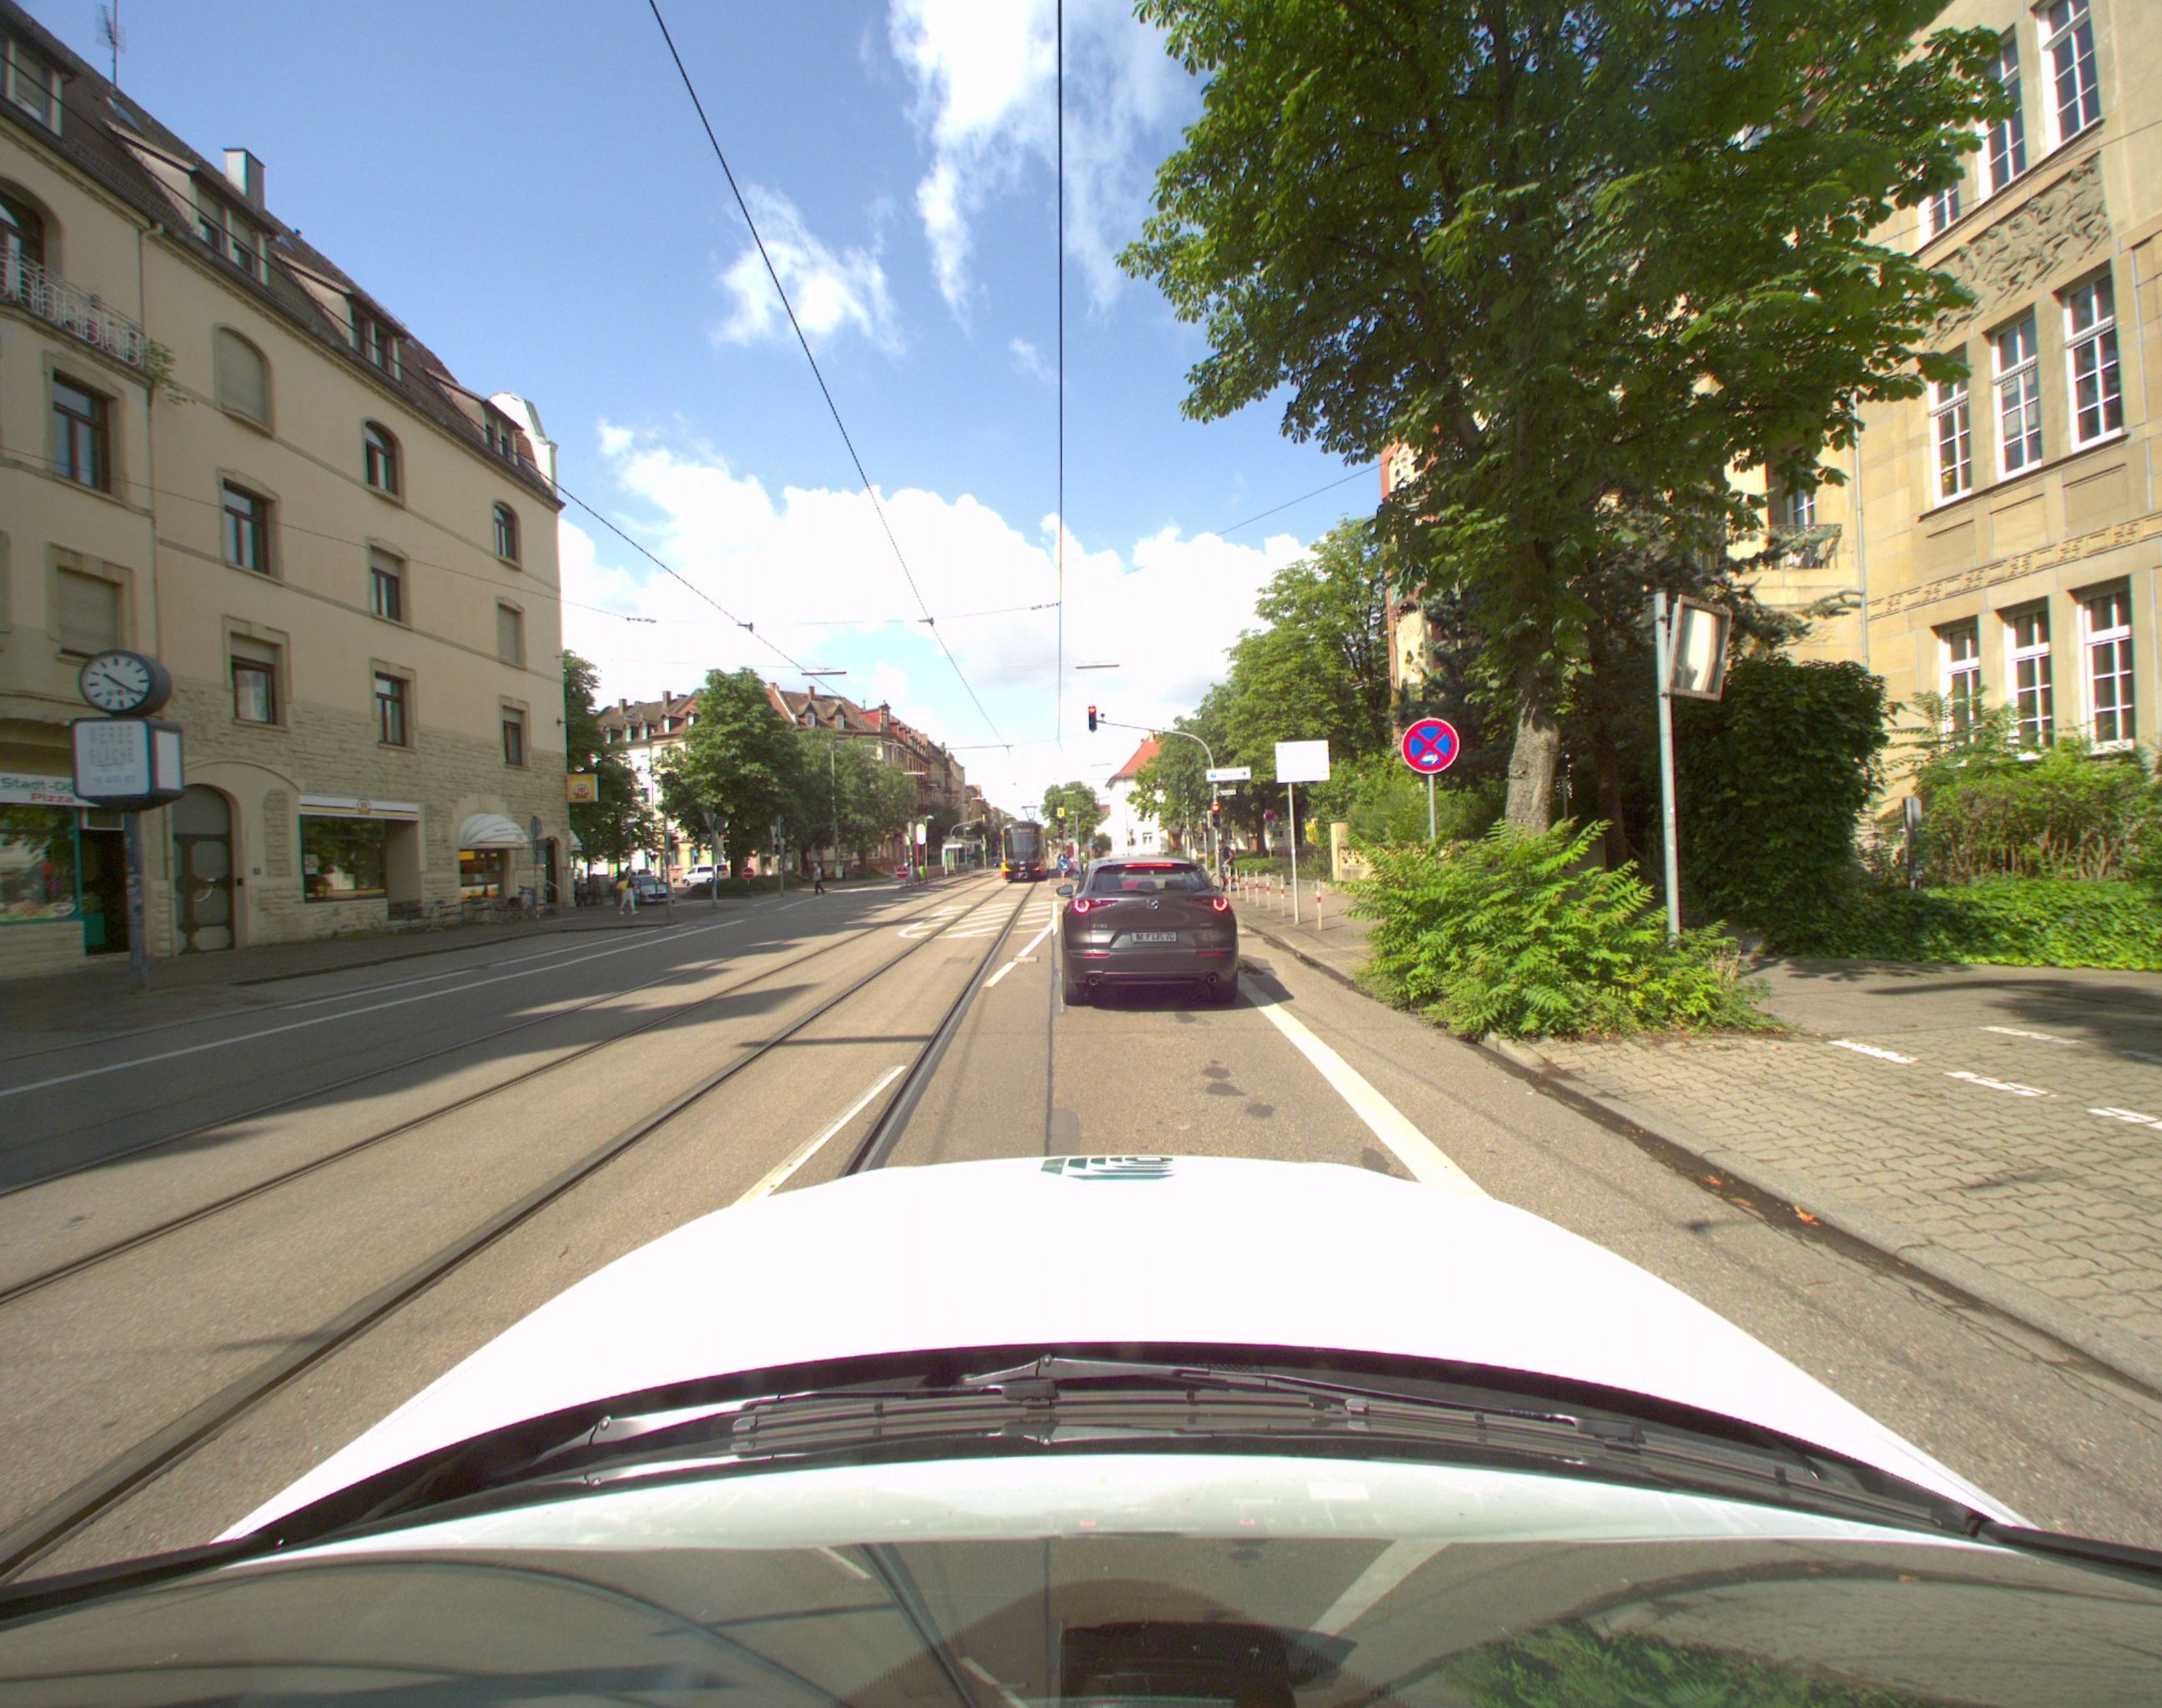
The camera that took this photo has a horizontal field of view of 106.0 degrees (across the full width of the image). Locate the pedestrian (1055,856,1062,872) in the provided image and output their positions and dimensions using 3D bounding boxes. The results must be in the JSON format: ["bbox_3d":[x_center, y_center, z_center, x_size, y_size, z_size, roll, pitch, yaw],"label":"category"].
[{"bbox_3d":[-1.535,0.666,55.371,0.379,1.071,0.474,-2,0,-3],"label":"pedestrian"}]

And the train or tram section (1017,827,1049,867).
[{"bbox_3d":[-4.583,-0.781,80.408,2.746,3.490,14.396,-3,1,-2],"label":"train or tram section"}]

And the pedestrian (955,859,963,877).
[{"bbox_3d":[-9.748,1.115,64.872,0.424,1.399,0.401,-3,0,32],"label":"pedestrian"}]

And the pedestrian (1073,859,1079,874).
[{"bbox_3d":[-0.338,0.829,55.684,0.379,0.984,0.474,-2,0,-3],"label":"pedestrian"}]

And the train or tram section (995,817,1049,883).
[{"bbox_3d":[-3.495,-0.330,51.633,2.746,3.490,14.396,-3,1,-2],"label":"train or tram section"}]

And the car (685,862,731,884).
[{"bbox_3d":[-36.768,1.860,80.228,3.950,1.903,2.012,-2,0,26],"label":"car"}]

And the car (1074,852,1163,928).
[{"bbox_3d":[0.806,0.712,18.302,1.772,1.499,4.001,0,0,1],"label":"car"}]

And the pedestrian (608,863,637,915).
[{"bbox_3d":[-15.995,1.216,28.448,0.685,1.754,0.796,-2,0,-19],"label":"pedestrian"}]

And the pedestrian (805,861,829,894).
[{"bbox_3d":[-13.763,1.219,42.454,0.814,1.705,0.723,-2,0,20],"label":"pedestrian"}]

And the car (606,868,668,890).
[{"bbox_3d":[-37.052,2.075,67.977,3.972,1.596,2.001,-3,0,2],"label":"car"}]

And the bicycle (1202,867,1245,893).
[{"bbox_3d":[5.045,0.901,28.811,1.708,0.824,0.488,-2,0,-40],"label":"bicycle"}]

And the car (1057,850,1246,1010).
[{"bbox_3d":[0.714,0.710,9.692,1.772,1.499,4.001,0,0,1],"label":"car"}]

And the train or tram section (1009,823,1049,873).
[{"bbox_3d":[-4.045,-0.553,66.024,2.746,3.490,14.396,-3,1,-2],"label":"train or tram section"}]

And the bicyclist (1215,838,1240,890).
[{"bbox_3d":[5.148,0.342,28.584,0.608,1.793,0.656,-2,0,-8],"label":"bicyclist"}]

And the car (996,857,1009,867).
[{"bbox_3d":[-11.302,1.155,117.157,1.610,1.310,3.625,-2,0,-2],"label":"car"}]

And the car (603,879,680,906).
[{"bbox_3d":[-21.481,1.881,39.762,3.948,1.182,1.689,-2,0,35],"label":"car"}]

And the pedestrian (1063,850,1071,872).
[{"bbox_3d":[-0.946,0.466,55.628,0.449,1.434,0.474,-2,0,-3],"label":"pedestrian"}]
